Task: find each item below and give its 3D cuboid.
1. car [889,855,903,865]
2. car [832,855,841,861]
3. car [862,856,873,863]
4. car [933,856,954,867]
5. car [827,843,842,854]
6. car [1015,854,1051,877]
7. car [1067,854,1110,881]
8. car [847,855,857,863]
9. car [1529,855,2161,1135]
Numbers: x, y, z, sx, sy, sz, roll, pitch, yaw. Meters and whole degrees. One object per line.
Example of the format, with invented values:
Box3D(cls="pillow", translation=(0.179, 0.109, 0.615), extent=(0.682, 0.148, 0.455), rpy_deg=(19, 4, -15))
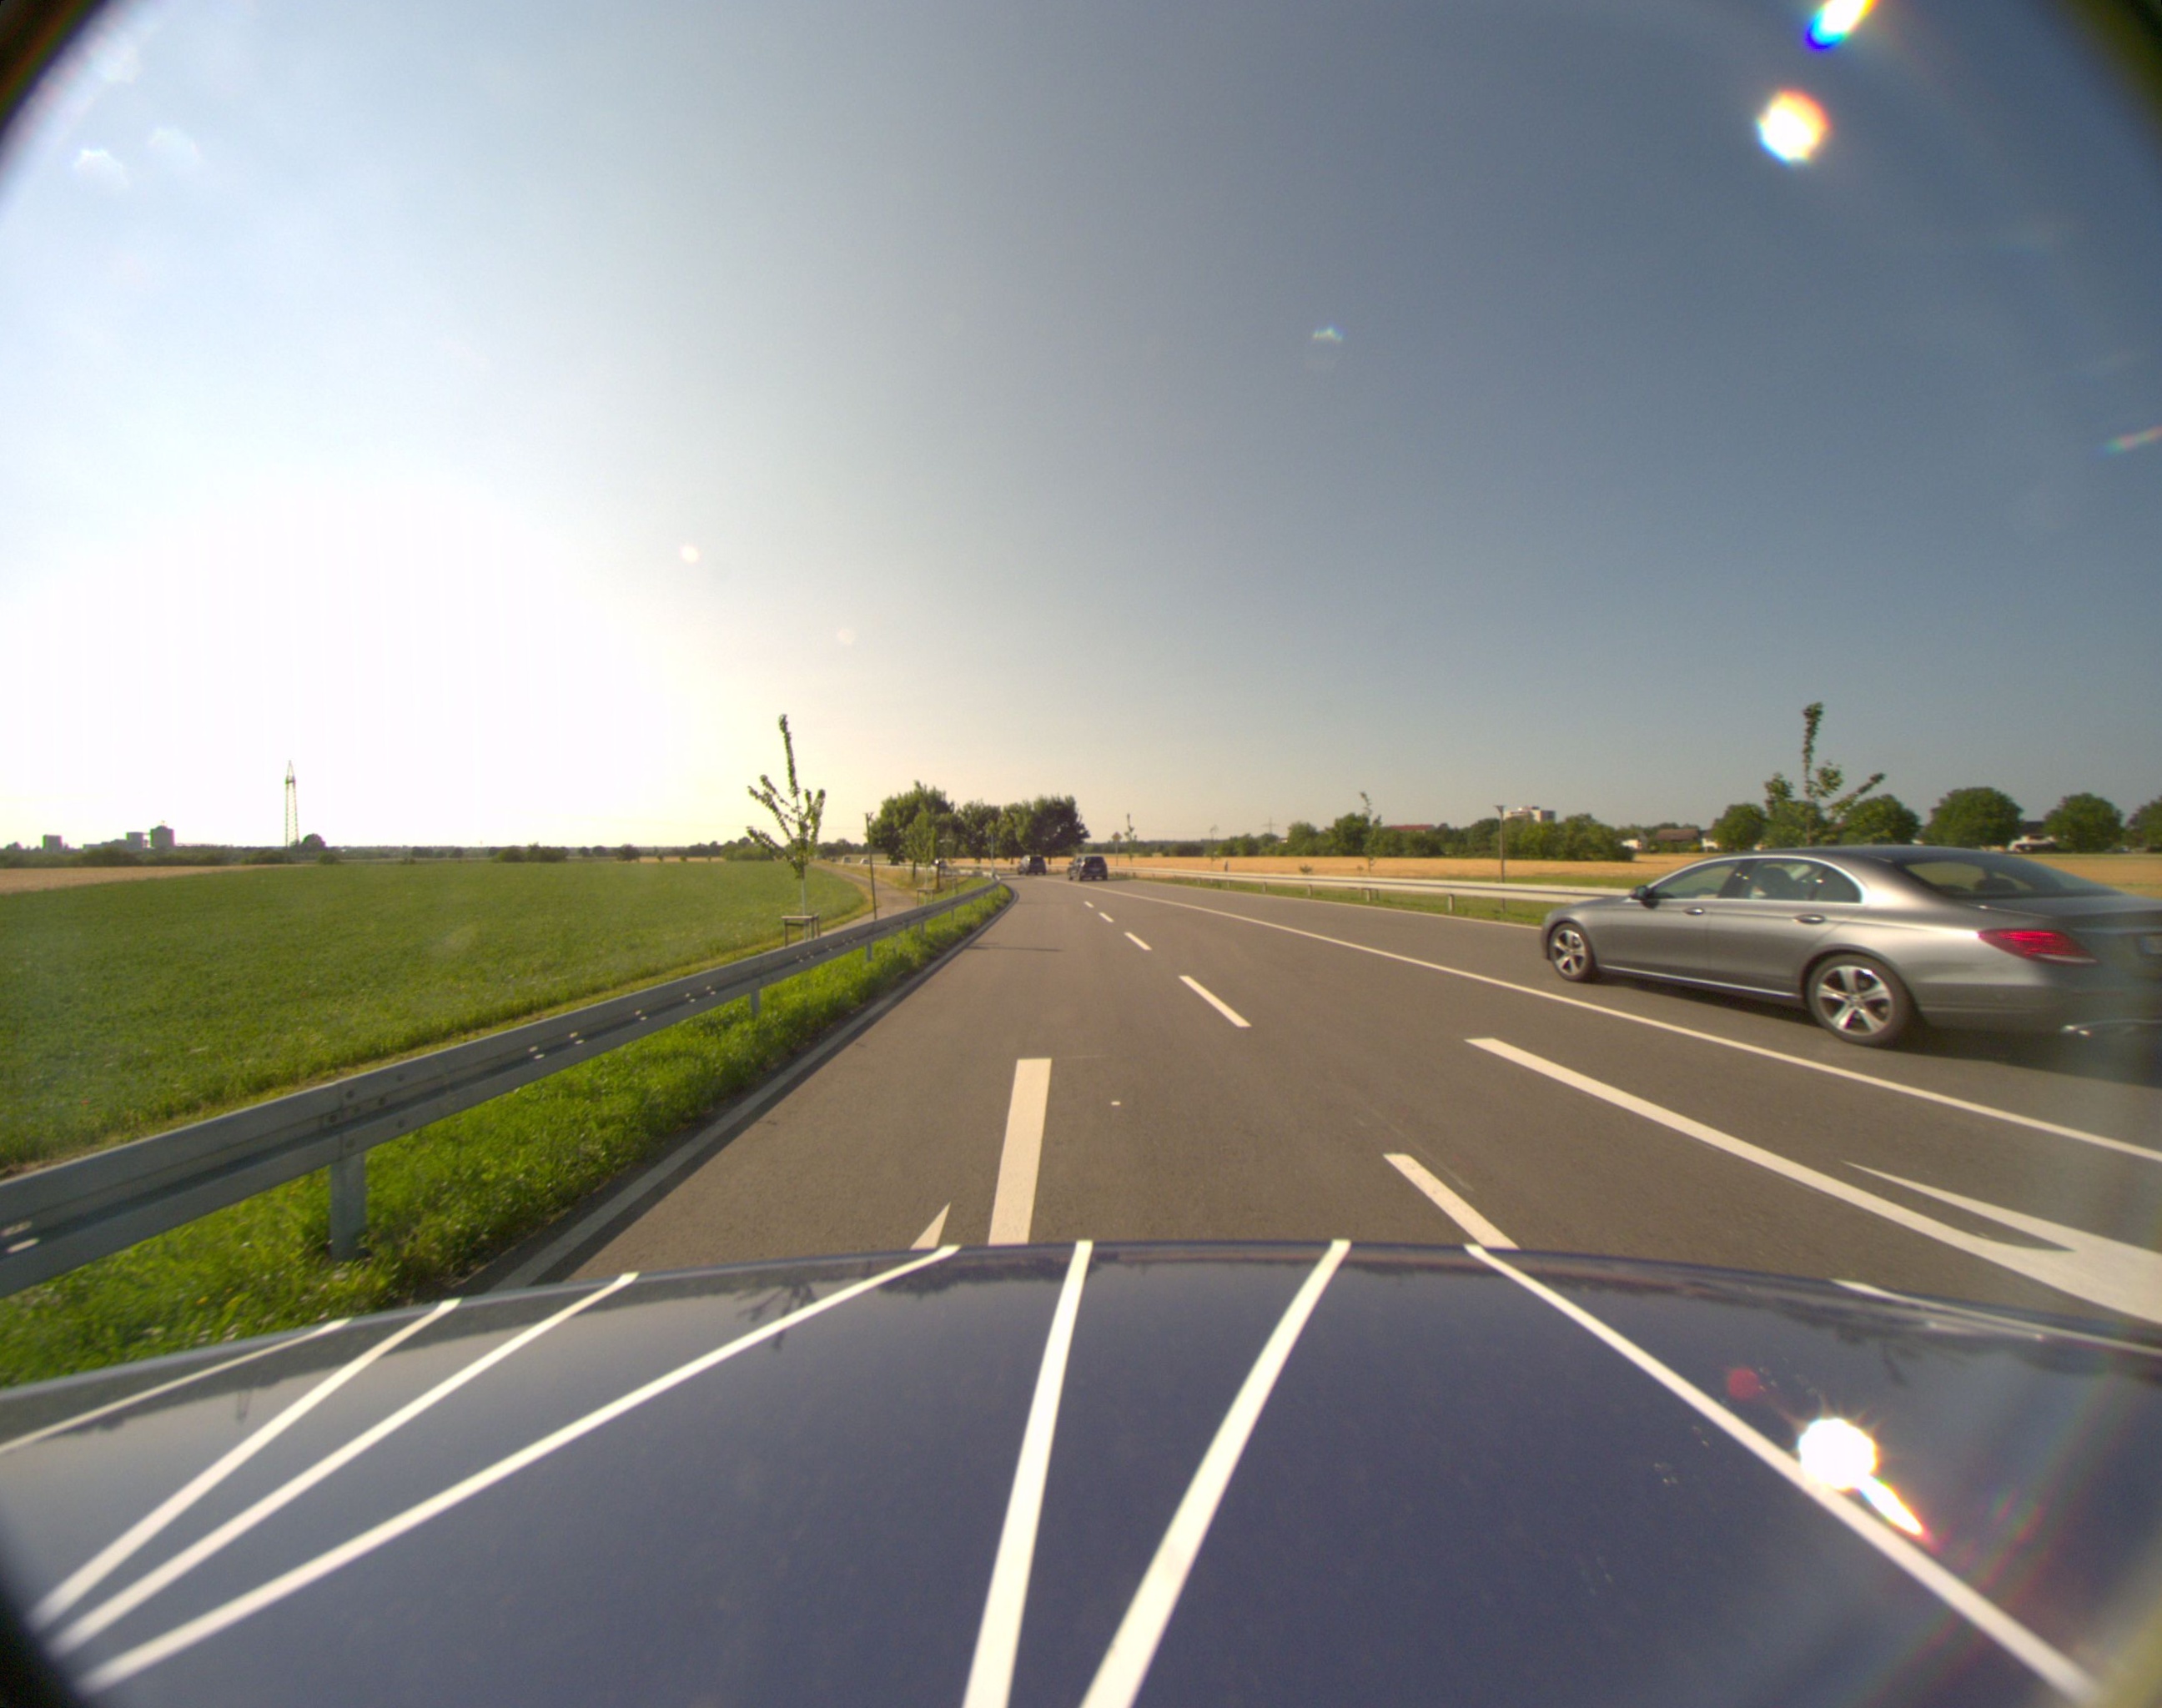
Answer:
Box3D(cls="car", translation=(-33.518, 1.080, 137.547), extent=(1.845, 1.536, 4.235), rpy_deg=(-4, 3, -23))
Box3D(cls="car", translation=(-75.472, 1.142, 234.757), extent=(2.018, 1.576, 4.816), rpy_deg=(-1, 2, -24))
Box3D(cls="car", translation=(-48.947, 1.271, 173.968), extent=(1.759, 1.421, 3.838), rpy_deg=(-3, 1, -24))
Box3D(cls="car", translation=(-19.339, 1.072, 106.704), extent=(1.861, 1.440, 4.145), rpy_deg=(-3, 2, -25))
Box3D(cls="car", translation=(-51.964, -1.182, 159.999), extent=(2.819, 2.002, 6.091), rpy_deg=(-3, 2, -19))
Box3D(cls="car", translation=(-4.276, 0.985, 67.447), extent=(1.890, 1.788, 5.083), rpy_deg=(-3, 2, -18))
Box3D(cls="car", translation=(0.442, 0.837, 50.414), extent=(2.000, 1.583, 4.859), rpy_deg=(-2, 1, -9))
Box3D(cls="car", translation=(-60.939, 1.231, 201.914), extent=(1.920, 2.003, 4.773), rpy_deg=(-3, 2, -23))
Box3D(cls="car", translation=(6.265, 0.776, 6.558), extent=(1.799, 1.440, 4.704), rpy_deg=(-3, 0, -3))
